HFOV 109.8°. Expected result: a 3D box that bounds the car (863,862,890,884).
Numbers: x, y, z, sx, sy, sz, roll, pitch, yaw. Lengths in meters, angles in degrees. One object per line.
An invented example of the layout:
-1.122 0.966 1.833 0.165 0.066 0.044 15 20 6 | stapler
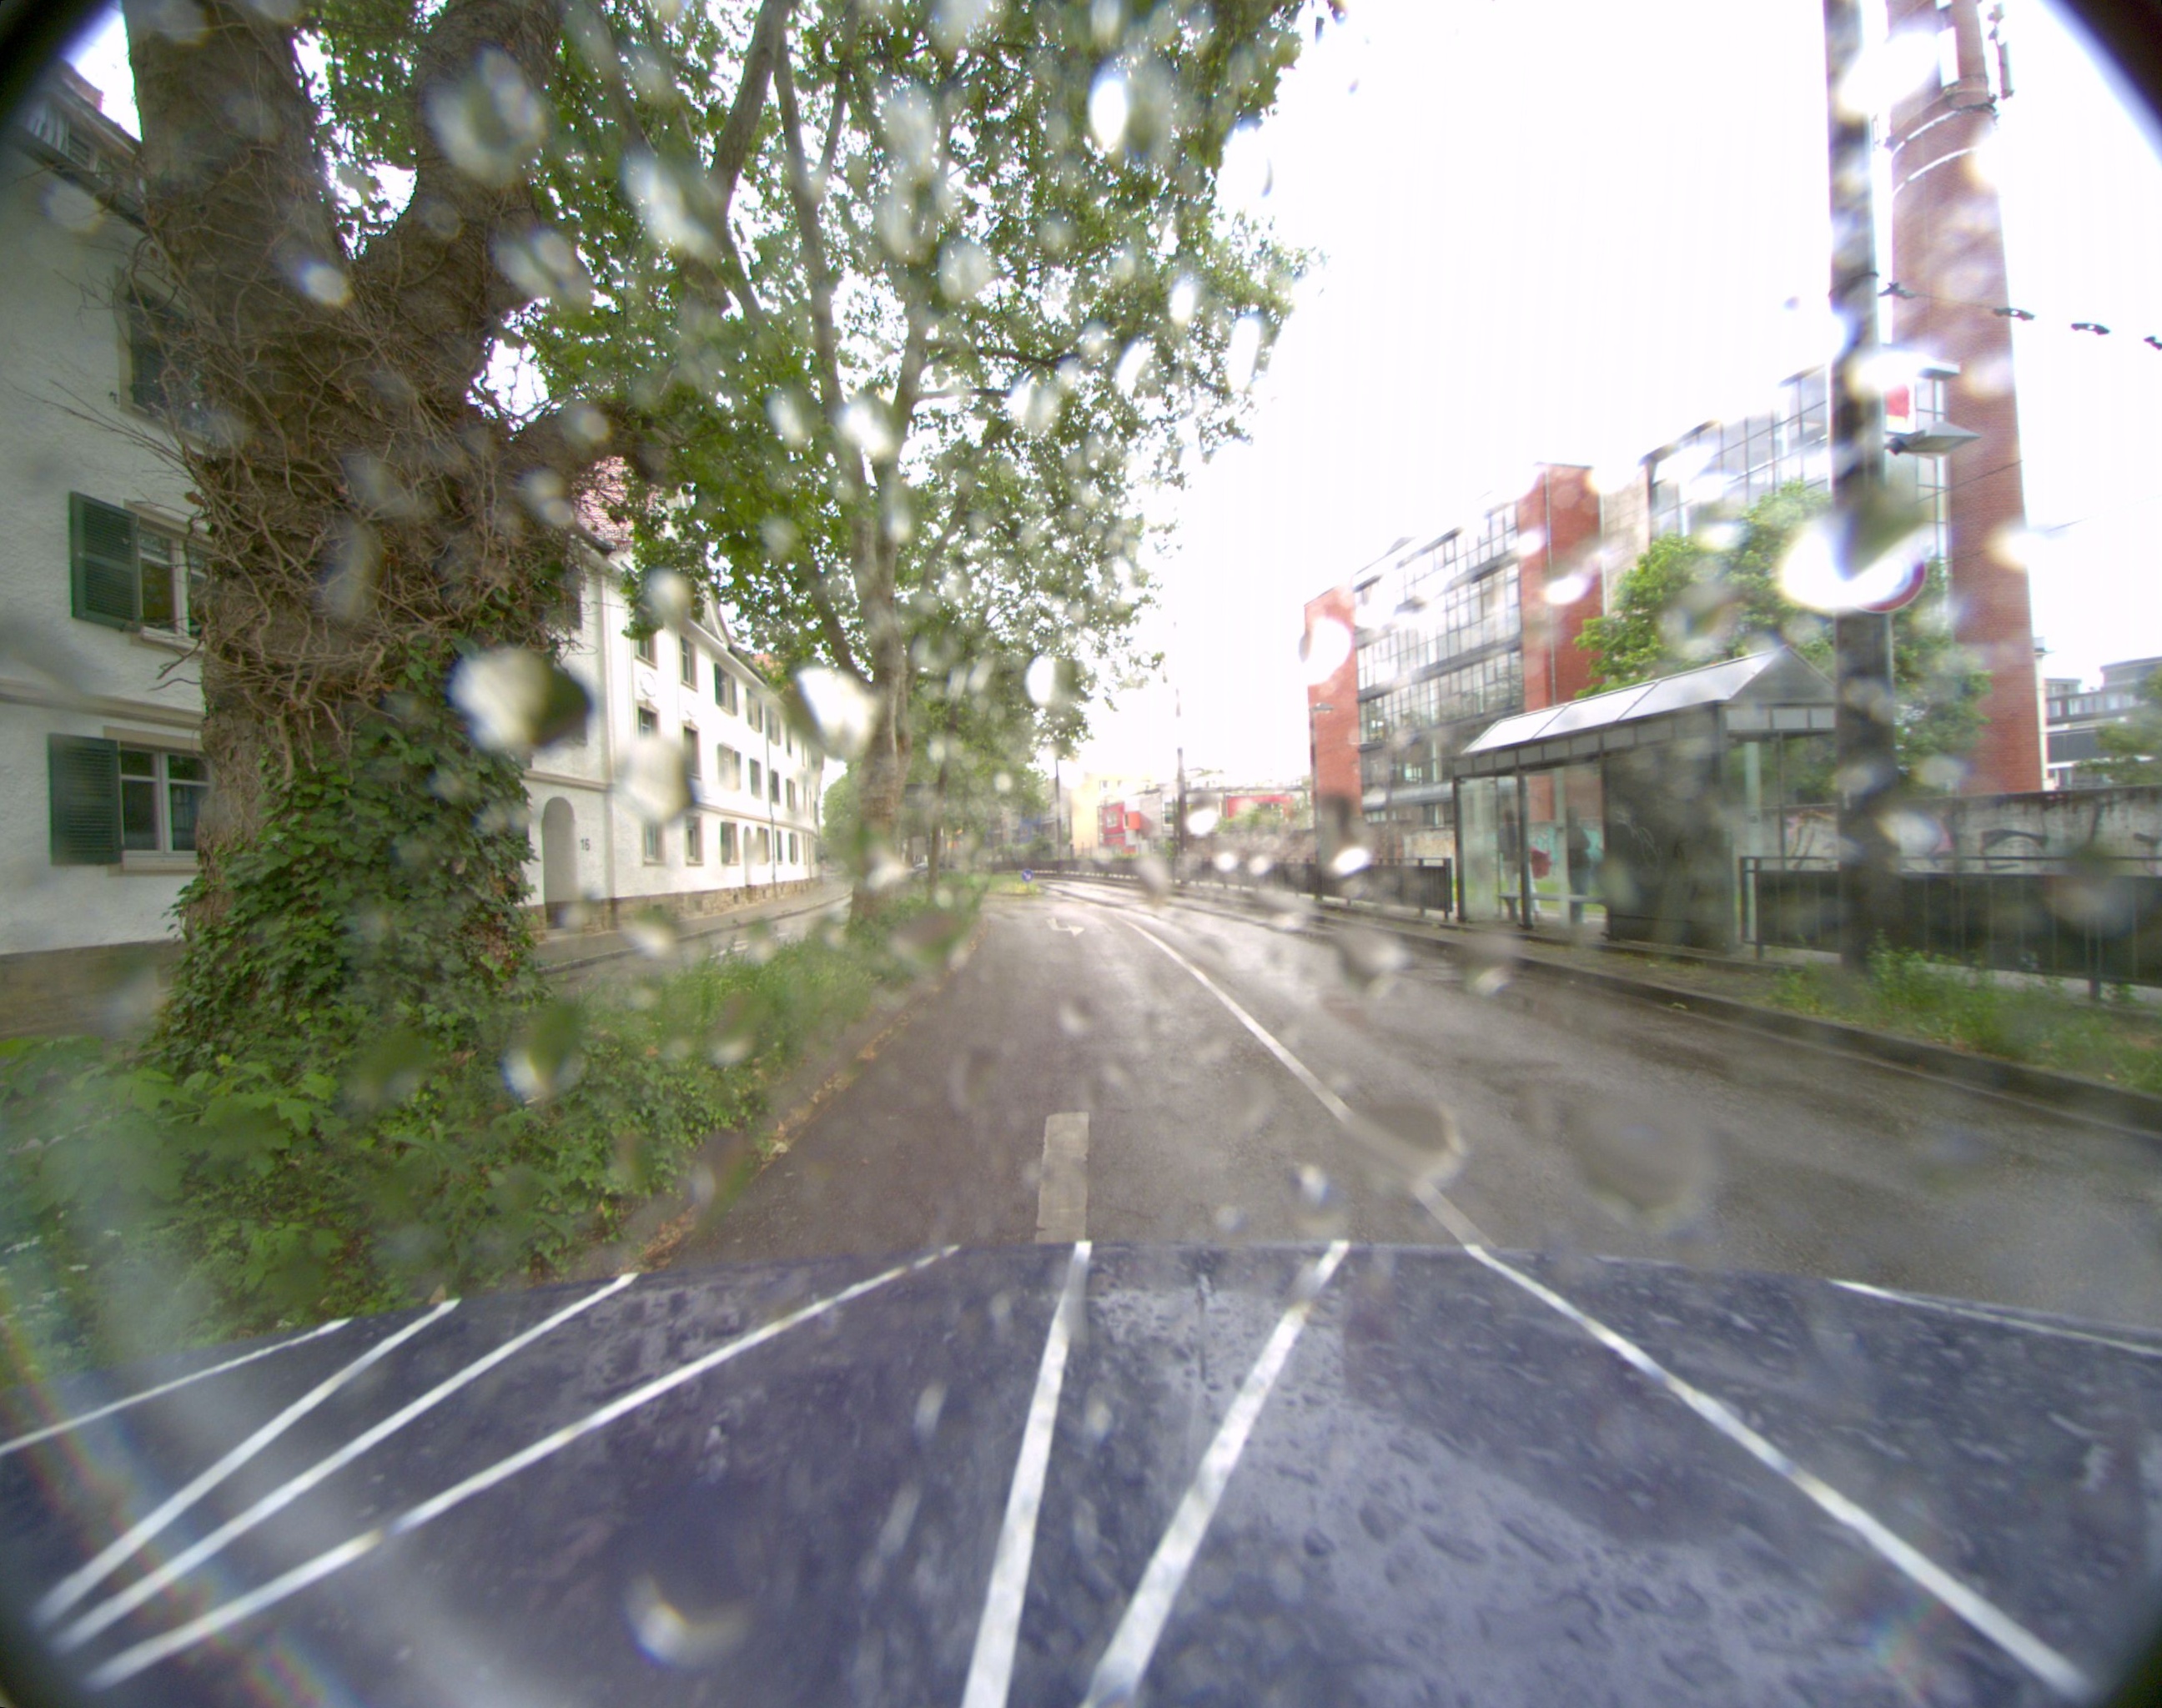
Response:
-16.165 1.490 59.958 1.853 1.586 4.210 -2 0 -17 | car

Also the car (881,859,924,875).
-22.223 1.615 94.708 4.884 2.002 2.002 -1 0 11 | car

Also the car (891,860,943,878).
-15.125 1.388 70.301 4.328 1.603 1.749 -1 0 6 | car

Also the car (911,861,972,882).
-10.760 1.328 58.844 4.224 1.532 1.932 -1 0 11 | car

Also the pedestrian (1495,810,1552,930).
6.577 0.229 11.287 0.584 1.721 0.566 -1 1 -41 | pedestrian

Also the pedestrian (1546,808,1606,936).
6.906 0.241 10.598 0.584 1.721 0.566 -1 1 -43 | pedestrian

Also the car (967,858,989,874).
-11.780 1.369 86.945 1.694 1.713 3.685 -1 0 -20 | car
